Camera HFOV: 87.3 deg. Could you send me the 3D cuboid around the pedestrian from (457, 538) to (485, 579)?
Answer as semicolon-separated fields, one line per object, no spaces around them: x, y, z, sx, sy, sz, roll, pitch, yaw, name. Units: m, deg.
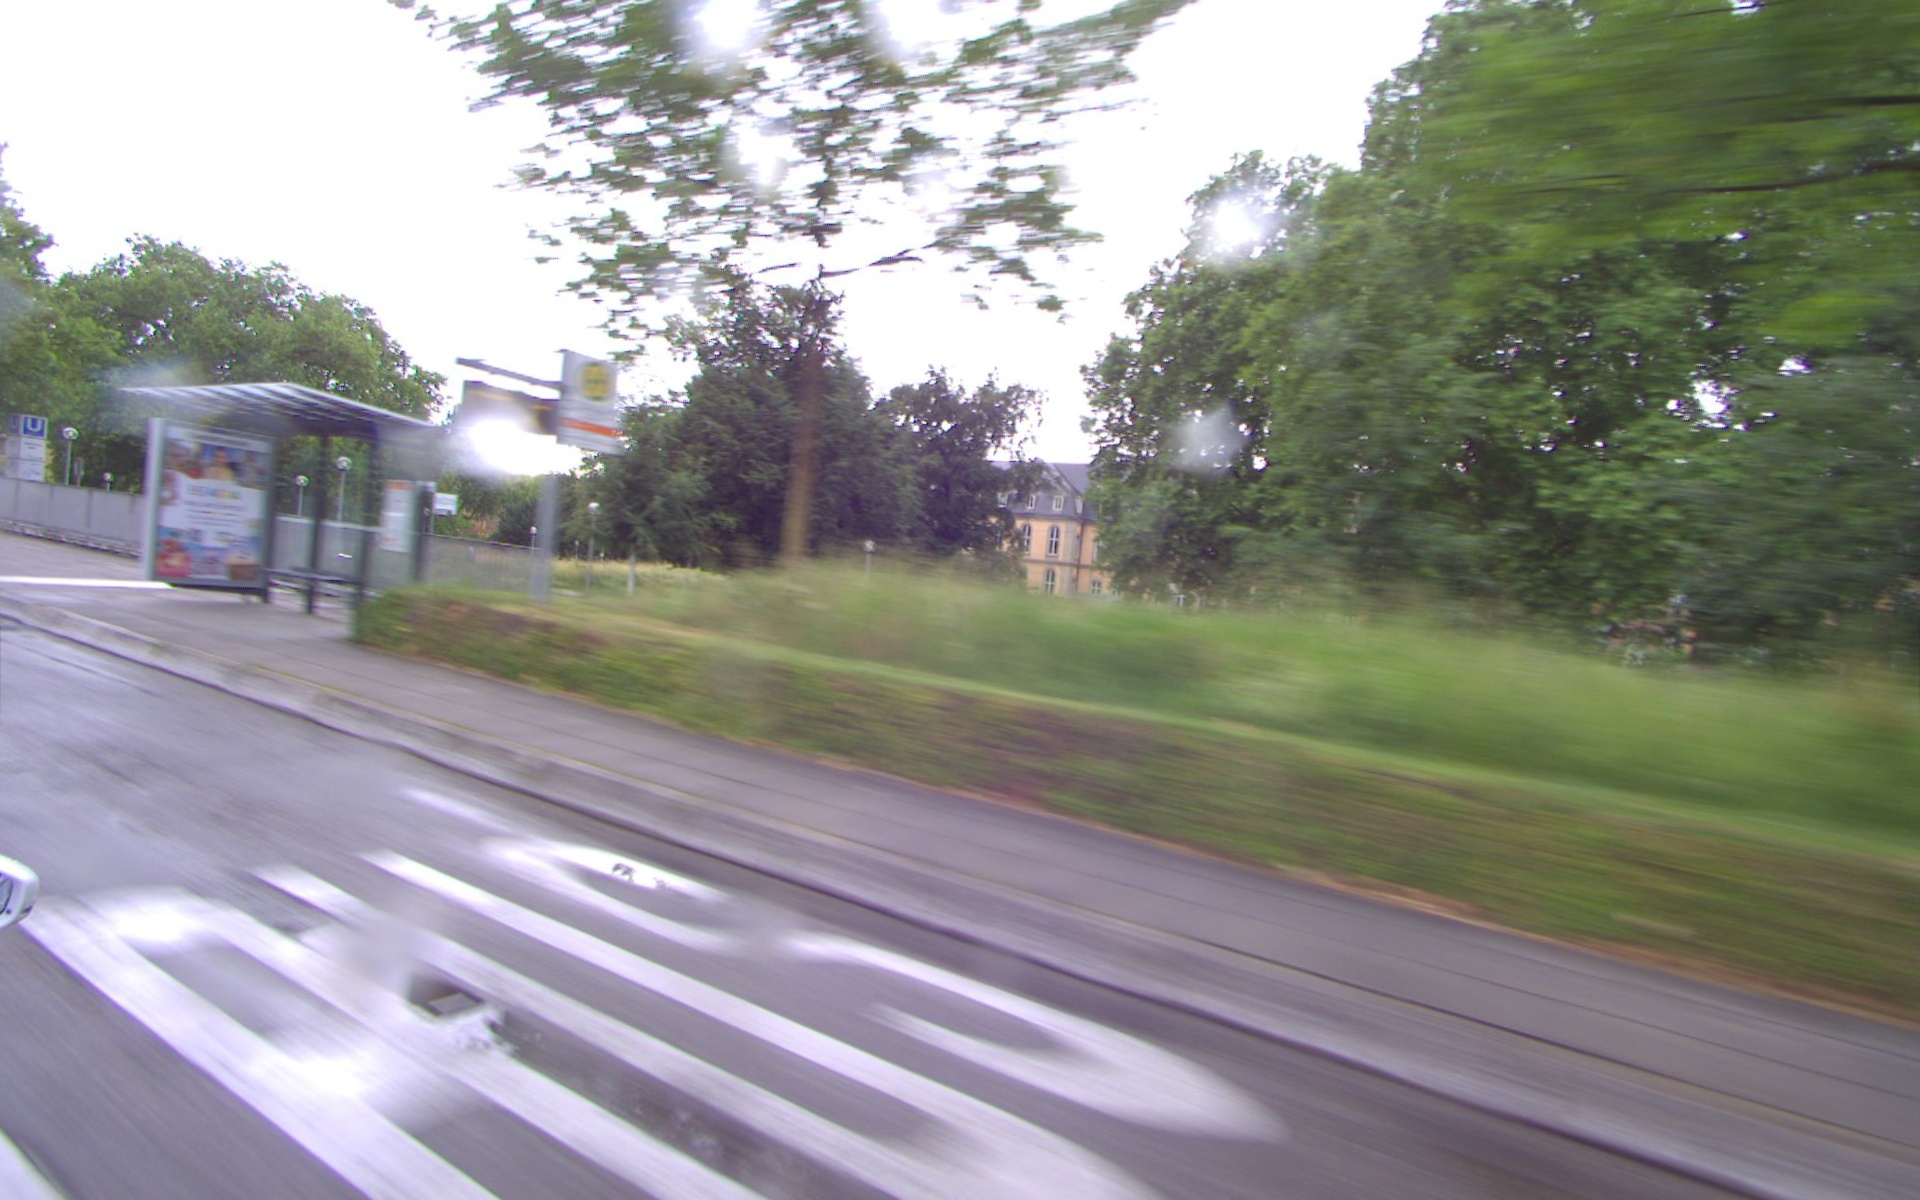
-21.654;-1.839;44.536;0.639;1.713;0.771;6;0;31;pedestrian
